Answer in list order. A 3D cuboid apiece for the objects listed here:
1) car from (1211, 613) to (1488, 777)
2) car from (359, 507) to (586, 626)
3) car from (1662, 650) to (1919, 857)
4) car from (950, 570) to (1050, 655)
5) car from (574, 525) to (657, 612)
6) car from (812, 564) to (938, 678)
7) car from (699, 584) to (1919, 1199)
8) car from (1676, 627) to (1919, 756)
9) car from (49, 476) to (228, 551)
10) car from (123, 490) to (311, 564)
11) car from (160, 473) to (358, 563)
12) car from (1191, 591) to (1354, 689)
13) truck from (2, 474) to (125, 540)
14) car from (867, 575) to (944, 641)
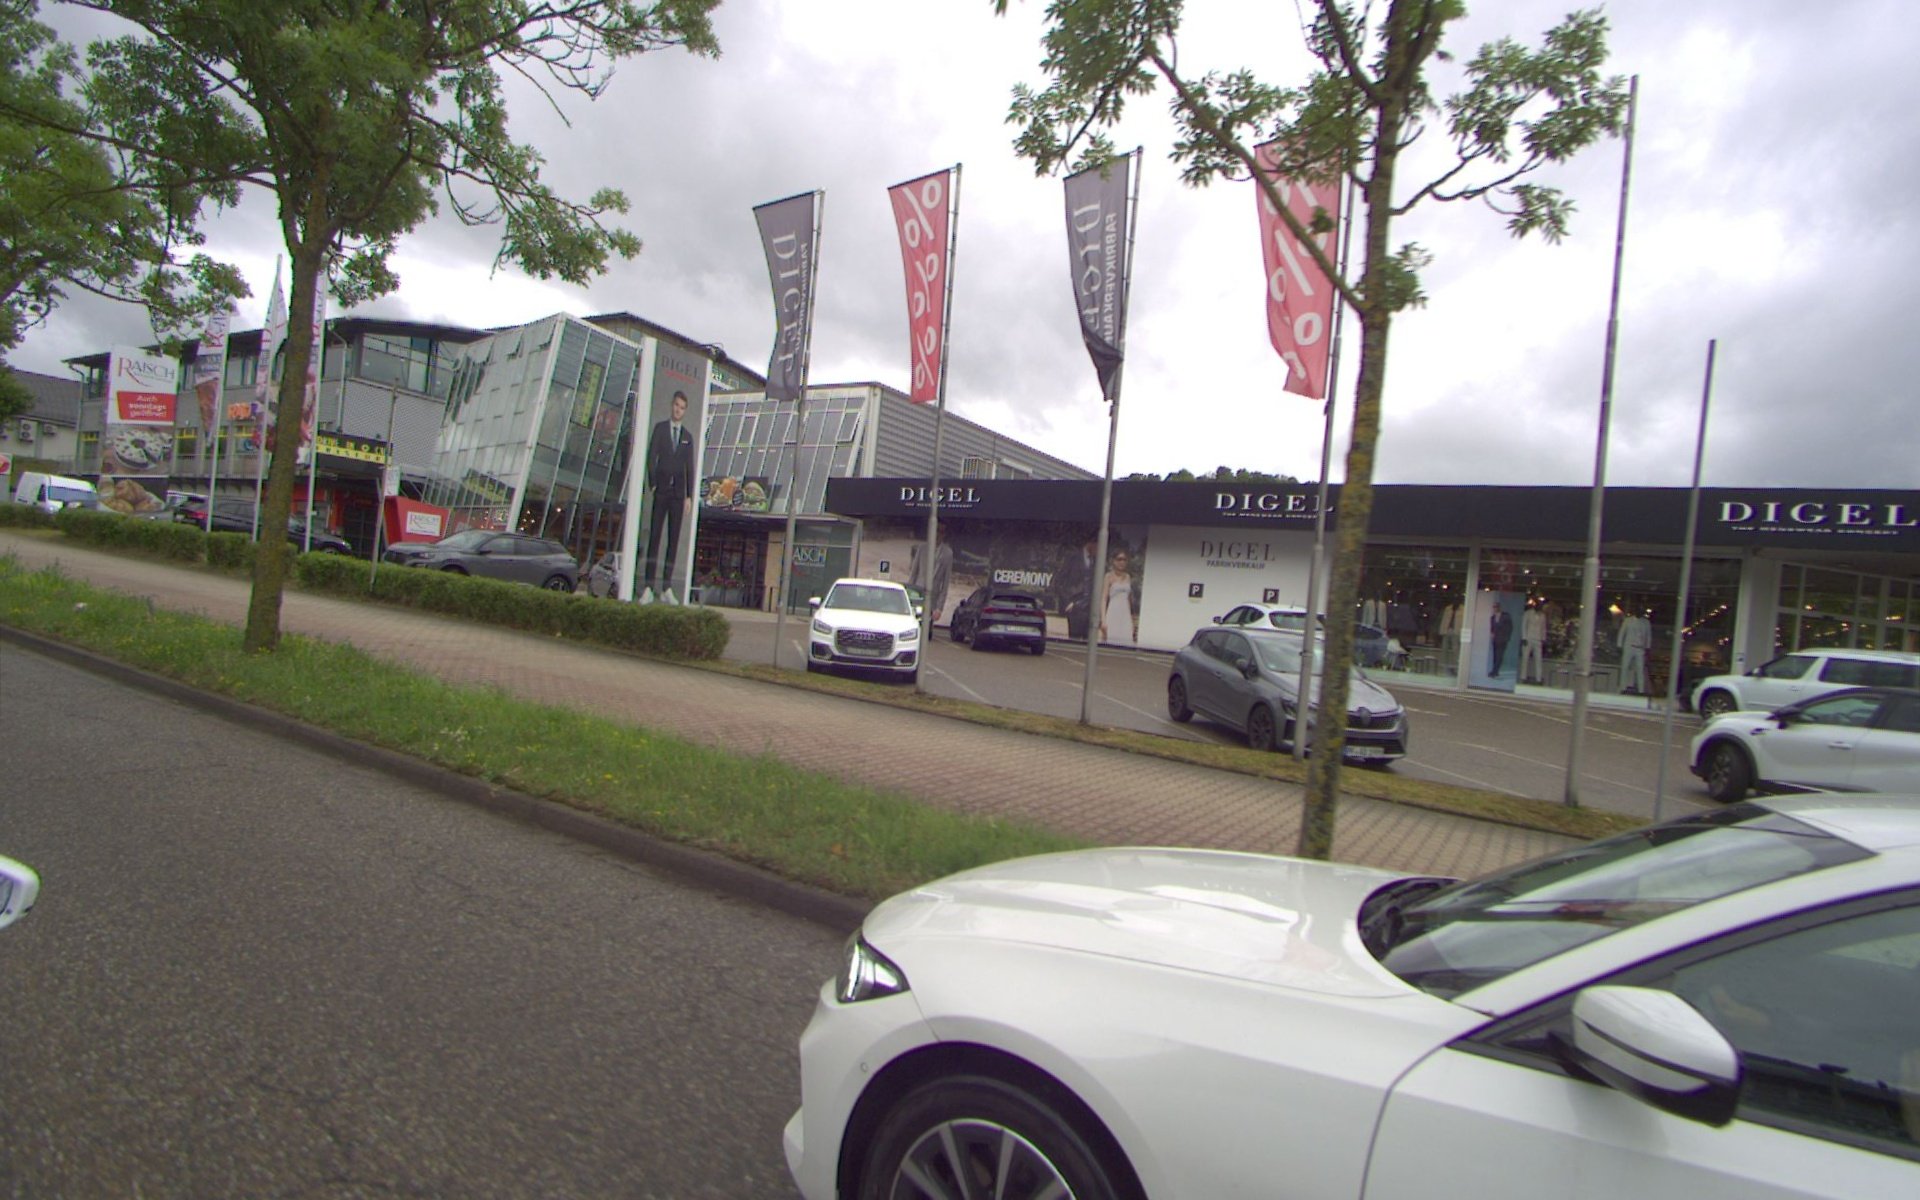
[{"bbox_3d":[4.674,1.063,12.684,1.615,1.555,3.594,6,0,-7],"label":"car"},{"bbox_3d":[-10.801,-0.675,22.573,1.770,2.131,4.114,7,0,33],"label":"car"},{"bbox_3d":[9.890,1.631,10.415,1.948,1.685,4.019,6,2,-7],"label":"car"},{"bbox_3d":[0.921,0.286,25.421,1.707,1.793,4.149,6,0,-7],"label":"car"},{"bbox_3d":[-9.140,-0.827,26.959,1.770,1.965,4.026,7,0,-17],"label":"car"},{"bbox_3d":[-1.495,0.296,17.030,1.765,1.555,3.593,6,0,-7],"label":"car"},{"bbox_3d":[1.873,1.029,1.855,4.543,1.562,1.805,6,-2,31],"label":"car"},{"bbox_3d":[15.028,1.535,17.406,1.709,1.793,4.146,6,0,-11],"label":"car"},{"bbox_3d":[-26.427,-2.748,32.475,1.772,1.724,4.109,7,0,38],"label":"car"},{"bbox_3d":[-22.049,-2.135,29.983,1.772,1.554,4.109,7,0,38],"label":"car"},{"bbox_3d":[-19.581,-2.250,28.266,1.770,1.928,4.112,7,0,33],"label":"car"},{"bbox_3d":[6.744,0.787,22.211,1.707,1.793,4.149,6,0,-7],"label":"car"},{"bbox_3d":[-40.135,-4.172,45.000,5.368,2.375,2.447,5,-2,31],"label":"truck"},{"bbox_3d":[-1.570,0.172,27.482,1.799,1.487,4.150,6,0,-5],"label":"car"}]
